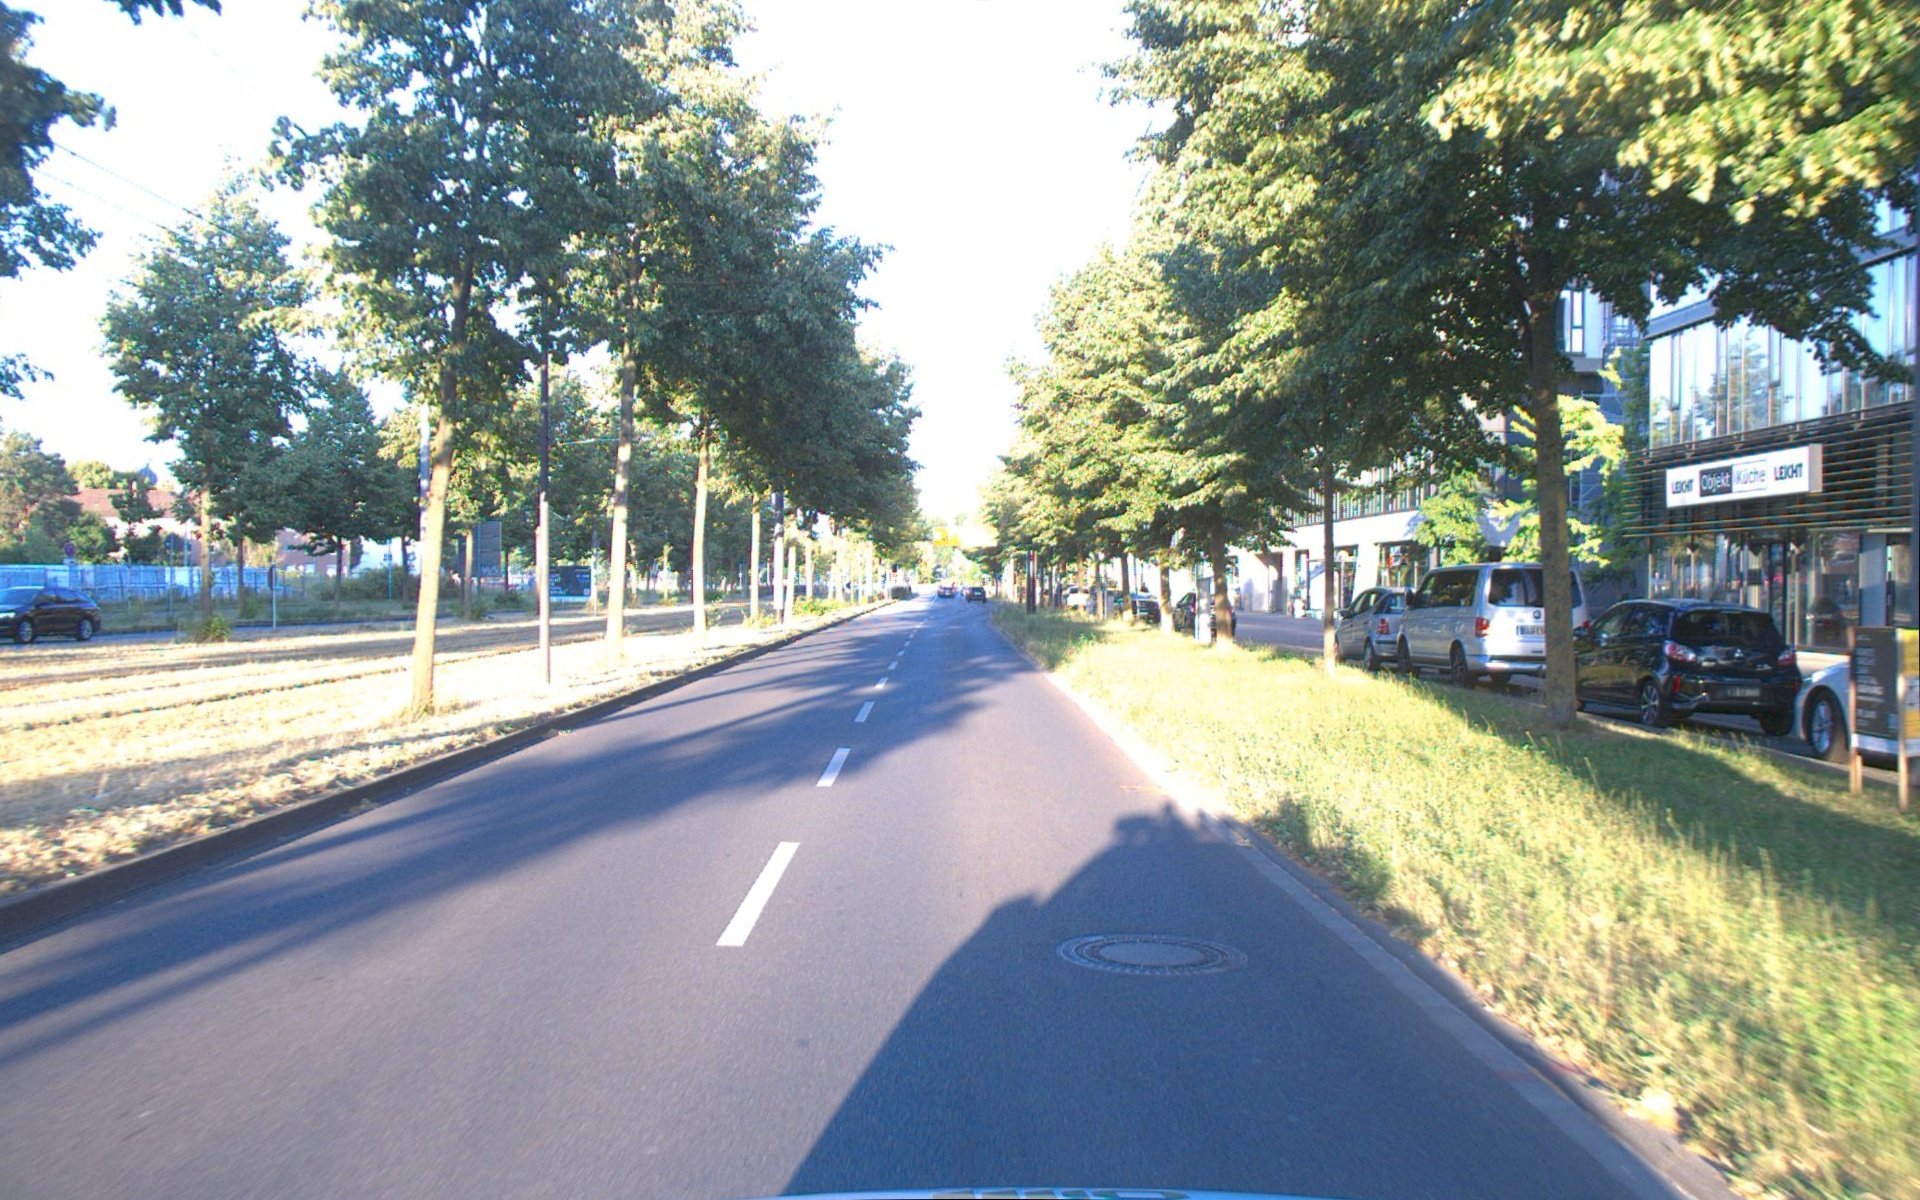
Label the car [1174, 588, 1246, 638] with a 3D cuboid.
[{"bbox_3d":[8.417,0.411,55.959,1.744,1.520,4.000,3,0,-1],"label":"car"}]

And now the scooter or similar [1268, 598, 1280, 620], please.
[{"bbox_3d":[17.697,0.521,93.319,0.462,1.232,1.229,0,0,1],"label":"scooter or similar"}]

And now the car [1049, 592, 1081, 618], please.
[{"bbox_3d":[7.852,0.381,124.283,1.953,1.884,4.663,0,0,-3],"label":"car"}]

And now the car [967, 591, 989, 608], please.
[{"bbox_3d":[1.697,-0.051,157.527,1.873,1.512,3.999,1,0,-1],"label":"car"}]

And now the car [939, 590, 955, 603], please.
[{"bbox_3d":[-1.574,-0.396,198.618,1.873,1.512,3.999,0,0,-1],"label":"car"}]

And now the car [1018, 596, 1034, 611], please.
[{"bbox_3d":[6.780,0.350,169.858,1.543,1.498,3.881,0,0,0],"label":"car"}]

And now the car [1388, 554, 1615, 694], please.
[{"bbox_3d":[8.611,0.343,26.814,1.946,2.024,4.931,1,0,-1],"label":"car"}]

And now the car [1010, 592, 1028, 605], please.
[{"bbox_3d":[6.868,-0.149,191.849,1.722,1.491,4.156,0,0,-3],"label":"car"}]

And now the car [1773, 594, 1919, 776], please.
[{"bbox_3d":[8.993,0.734,13.695,1.879,1.523,5.039,1,0,-2],"label":"car"}]

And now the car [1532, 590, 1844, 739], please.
[{"bbox_3d":[8.603,0.687,20.003,1.821,1.522,4.290,3,0,0],"label":"car"}]

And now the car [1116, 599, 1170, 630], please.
[{"bbox_3d":[8.477,0.660,76.920,1.815,1.391,4.832,0,0,-2],"label":"car"}]

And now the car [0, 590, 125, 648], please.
[{"bbox_3d":[-23.867,0.458,43.107,1.891,1.447,4.389,0,0,2],"label":"car"}]

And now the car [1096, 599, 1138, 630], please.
[{"bbox_3d":[8.230,0.739,86.905,1.675,1.542,3.758,2,0,-2],"label":"car"}]

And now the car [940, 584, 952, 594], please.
[{"bbox_3d":[-2.148,-1.642,258.375,1.873,1.512,3.999,0,0,-1],"label":"car"}]

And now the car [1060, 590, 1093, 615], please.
[{"bbox_3d":[7.853,0.174,111.772,1.952,1.671,4.878,0,0,0],"label":"car"}]

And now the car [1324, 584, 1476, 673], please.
[{"bbox_3d":[8.578,0.520,32.596,1.801,1.598,4.060,1,0,-2],"label":"car"}]
